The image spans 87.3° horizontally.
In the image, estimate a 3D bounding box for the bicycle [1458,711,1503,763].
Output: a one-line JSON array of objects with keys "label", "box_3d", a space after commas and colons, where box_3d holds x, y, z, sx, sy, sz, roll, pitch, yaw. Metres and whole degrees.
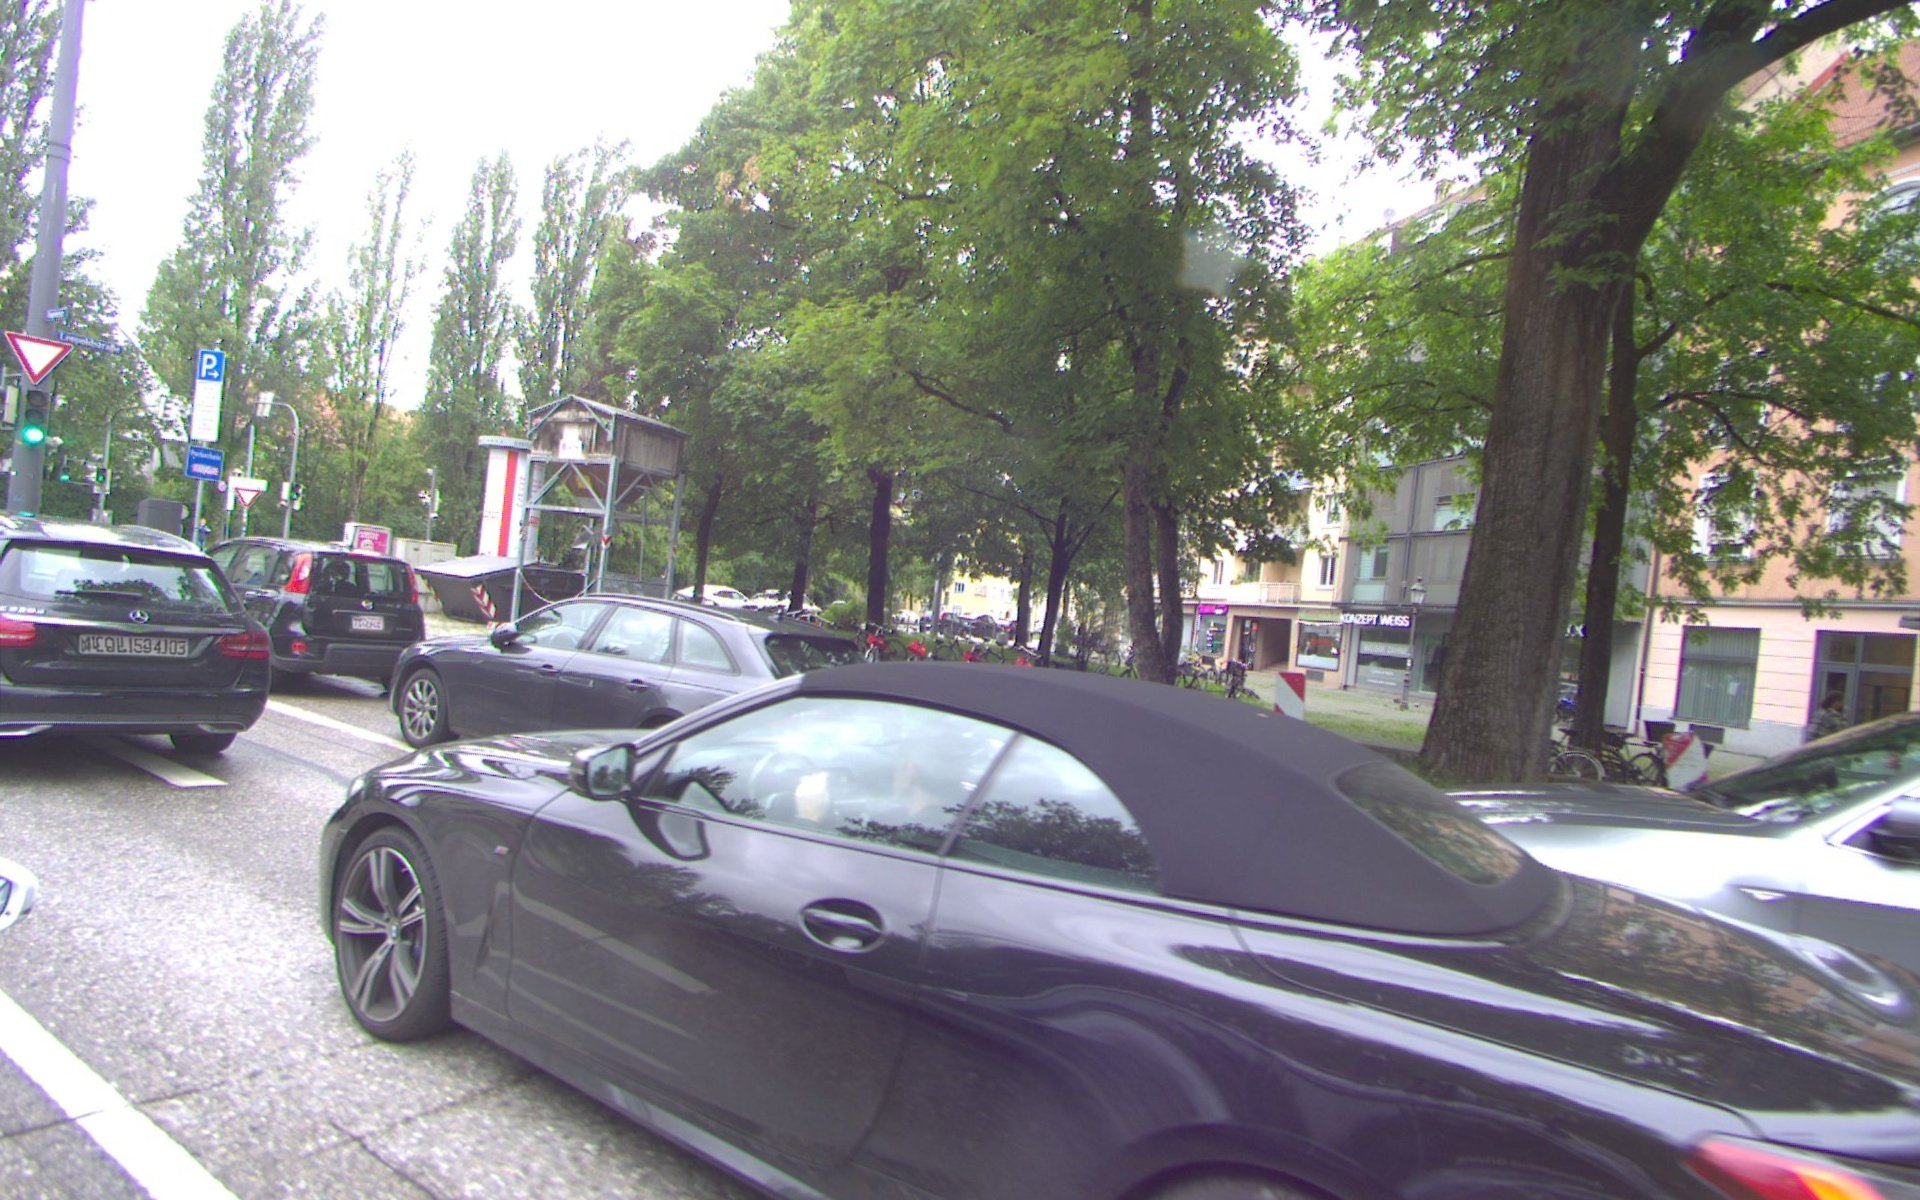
[{"label": "bicycle", "box_3d": [8.031, 2.115, 15.494, 0.314, 0.732, 1.174, 5, -3, 40]}]

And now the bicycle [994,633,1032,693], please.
[{"label": "bicycle", "box_3d": [0.861, 1.015, 16.555, 0.308, 0.904, 1.412, 7, -2, -5]}]

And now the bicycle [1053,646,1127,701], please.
[{"label": "bicycle", "box_3d": [2.543, 1.442, 19.812, 1.391, 0.904, 0.312, 5, -2, 38]}]

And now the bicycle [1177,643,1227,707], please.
[{"label": "bicycle", "box_3d": [6.140, 1.876, 25.647, 0.619, 1.374, 2.467, 7, 1, 2]}]

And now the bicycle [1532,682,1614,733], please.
[{"label": "bicycle", "box_3d": [19.067, 3.327, 31.341, 0.500, 1.304, 2.239, 7, -2, -22]}]

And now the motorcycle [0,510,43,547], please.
[{"label": "motorcycle", "box_3d": [-34.927, -2.655, 37.260, 1.994, 1.183, 0.630, 6, -2, 27]}]

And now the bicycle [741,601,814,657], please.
[{"label": "bicycle", "box_3d": [-3.394, 0.554, 18.774, 0.308, 0.904, 1.408, 6, -2, 38]}]

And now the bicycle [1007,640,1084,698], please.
[{"label": "bicycle", "box_3d": [1.569, 1.268, 18.615, 1.391, 0.904, 0.312, 5, -2, 38]}]

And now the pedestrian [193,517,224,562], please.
[{"label": "pedestrian", "box_3d": [-30.729, -2.470, 41.154, 0.692, 1.682, 0.550, 7, -1, -18]}]

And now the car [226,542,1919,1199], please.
[{"label": "car", "box_3d": [-0.009, 0.782, 2.933, 4.719, 1.406, 1.726, 6, 0, 32]}]

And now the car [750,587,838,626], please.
[{"label": "car", "box_3d": [-7.627, 0.334, 46.611, 1.700, 1.424, 4.370, 6, -1, 27]}]

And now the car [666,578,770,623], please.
[{"label": "car", "box_3d": [-9.992, 0.063, 41.874, 1.700, 1.424, 4.370, 6, -1, 27]}]

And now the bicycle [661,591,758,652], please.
[{"label": "bicycle", "box_3d": [-4.960, 0.461, 20.105, 0.619, 1.028, 2.241, 6, -2, 21]}]

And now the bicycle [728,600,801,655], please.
[{"label": "bicycle", "box_3d": [-3.673, 0.530, 19.008, 0.308, 0.904, 1.408, 6, -2, 38]}]

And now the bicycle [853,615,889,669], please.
[{"label": "bicycle", "box_3d": [-1.582, 0.741, 18.030, 0.307, 0.904, 1.413, 6, -1, 6]}]

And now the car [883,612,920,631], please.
[{"label": "car", "box_3d": [-5.834, 2.163, 100.578, 1.755, 1.504, 4.135, 6, -1, 27]}]

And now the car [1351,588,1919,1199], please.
[{"label": "car", "box_3d": [4.029, 1.150, 3.730, 4.475, 1.842, 1.935, 6, 0, 27]}]

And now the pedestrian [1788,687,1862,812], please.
[{"label": "pedestrian", "box_3d": [14.108, 2.429, 16.405, 0.622, 1.924, 0.626, 7, -1, -31]}]

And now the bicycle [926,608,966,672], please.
[{"label": "bicycle", "box_3d": [-0.304, 0.906, 23.842, 0.619, 1.374, 2.469, 6, 0, 3]}]

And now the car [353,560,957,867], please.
[{"label": "car", "box_3d": [-2.494, 0.690, 7.863, 4.563, 1.479, 1.770, 6, 0, 30]}]

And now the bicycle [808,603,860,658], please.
[{"label": "bicycle", "box_3d": [-2.281, 0.580, 18.322, 0.307, 0.904, 1.414, 6, -2, 17]}]

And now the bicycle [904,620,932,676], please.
[{"label": "bicycle", "box_3d": [-0.743, 0.830, 17.492, 0.308, 0.904, 1.412, 7, -2, -5]}]

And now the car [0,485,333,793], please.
[{"label": "car", "box_3d": [-6.521, 0.054, 6.842, 4.626, 1.567, 1.867, 6, -2, 32]}]

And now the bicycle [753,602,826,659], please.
[{"label": "bicycle", "box_3d": [-3.125, 0.577, 18.573, 0.308, 0.904, 1.408, 6, -2, 38]}]

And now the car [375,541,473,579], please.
[{"label": "car", "box_3d": [-28.652, -2.115, 53.894, 1.756, 1.504, 4.252, 6, -1, 30]}]

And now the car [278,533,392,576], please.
[{"label": "car", "box_3d": [-30.572, -2.198, 49.308, 1.756, 1.504, 4.345, 6, -1, 30]}]

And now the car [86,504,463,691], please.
[{"label": "car", "box_3d": [-7.834, -0.069, 11.379, 4.480, 1.568, 1.832, 6, 0, 33]}]

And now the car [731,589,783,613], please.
[{"label": "car", "box_3d": [-15.993, 0.119, 79.540, 1.755, 1.504, 4.135, 6, -1, 27]}]

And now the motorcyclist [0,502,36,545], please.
[{"label": "motorcyclist", "box_3d": [-34.945, -2.820, 37.274, 0.866, 1.459, 0.620, 6, -1, 27]}]

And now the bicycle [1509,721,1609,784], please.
[{"label": "bicycle", "box_3d": [8.713, 2.206, 14.653, 1.163, 0.732, 0.317, 5, -2, 43]}]

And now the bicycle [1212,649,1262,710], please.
[{"label": "bicycle", "box_3d": [7.522, 2.128, 27.459, 0.619, 1.374, 2.467, 7, 1, 2]}]

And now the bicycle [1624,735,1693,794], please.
[{"label": "bicycle", "box_3d": [9.754, 2.305, 14.036, 1.167, 0.732, 0.316, 8, -2, -33]}]

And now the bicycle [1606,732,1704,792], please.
[{"label": "bicycle", "box_3d": [10.795, 2.506, 15.649, 0.316, 0.732, 1.167, 8, -2, -36]}]

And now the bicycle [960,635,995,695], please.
[{"label": "bicycle", "box_3d": [0.275, 1.048, 16.517, 0.308, 0.904, 1.412, 7, -2, -5]}]

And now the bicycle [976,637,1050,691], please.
[{"label": "bicycle", "box_3d": [1.046, 1.258, 19.799, 1.395, 0.904, 0.311, 8, -2, -25]}]

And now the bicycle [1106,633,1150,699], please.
[{"label": "bicycle", "box_3d": [4.092, 1.581, 24.692, 0.619, 1.374, 2.467, 7, 1, 2]}]

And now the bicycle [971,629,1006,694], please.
[{"label": "bicycle", "box_3d": [0.692, 1.427, 23.524, 0.619, 1.372, 2.472, 6, -2, 3]}]

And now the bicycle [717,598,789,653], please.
[{"label": "bicycle", "box_3d": [-3.939, 0.508, 19.232, 0.308, 0.904, 1.408, 6, -2, 38]}]
